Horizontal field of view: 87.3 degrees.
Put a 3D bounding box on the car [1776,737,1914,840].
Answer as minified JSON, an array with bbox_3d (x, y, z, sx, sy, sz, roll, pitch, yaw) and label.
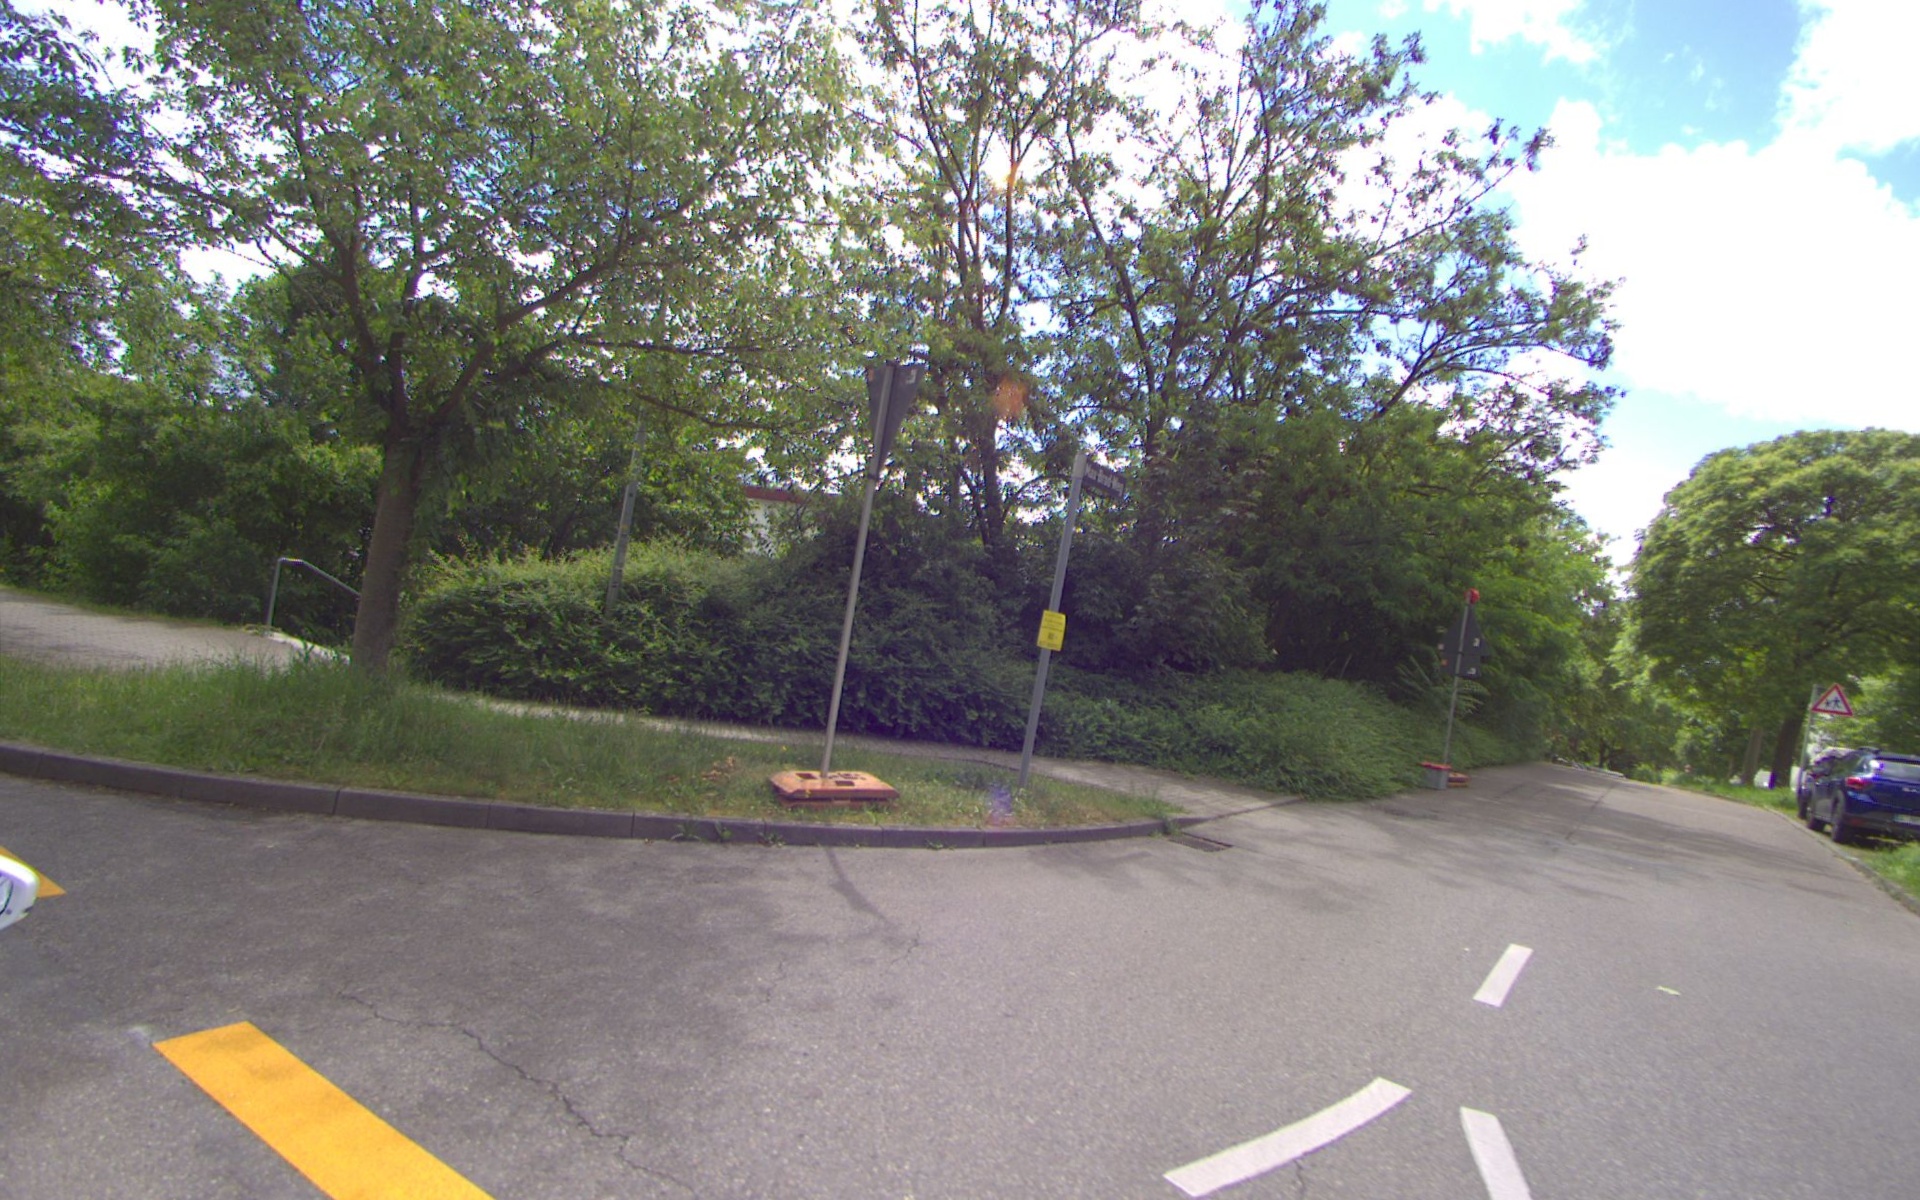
[{"bbox_3d":[18.533,3.872,21.235,1.702,1.681,3.989,6,-2,37],"label":"car"}]

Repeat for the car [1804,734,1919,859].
[{"bbox_3d":[15.270,3.184,16.555,1.702,1.681,3.989,6,-2,37],"label":"car"}]
